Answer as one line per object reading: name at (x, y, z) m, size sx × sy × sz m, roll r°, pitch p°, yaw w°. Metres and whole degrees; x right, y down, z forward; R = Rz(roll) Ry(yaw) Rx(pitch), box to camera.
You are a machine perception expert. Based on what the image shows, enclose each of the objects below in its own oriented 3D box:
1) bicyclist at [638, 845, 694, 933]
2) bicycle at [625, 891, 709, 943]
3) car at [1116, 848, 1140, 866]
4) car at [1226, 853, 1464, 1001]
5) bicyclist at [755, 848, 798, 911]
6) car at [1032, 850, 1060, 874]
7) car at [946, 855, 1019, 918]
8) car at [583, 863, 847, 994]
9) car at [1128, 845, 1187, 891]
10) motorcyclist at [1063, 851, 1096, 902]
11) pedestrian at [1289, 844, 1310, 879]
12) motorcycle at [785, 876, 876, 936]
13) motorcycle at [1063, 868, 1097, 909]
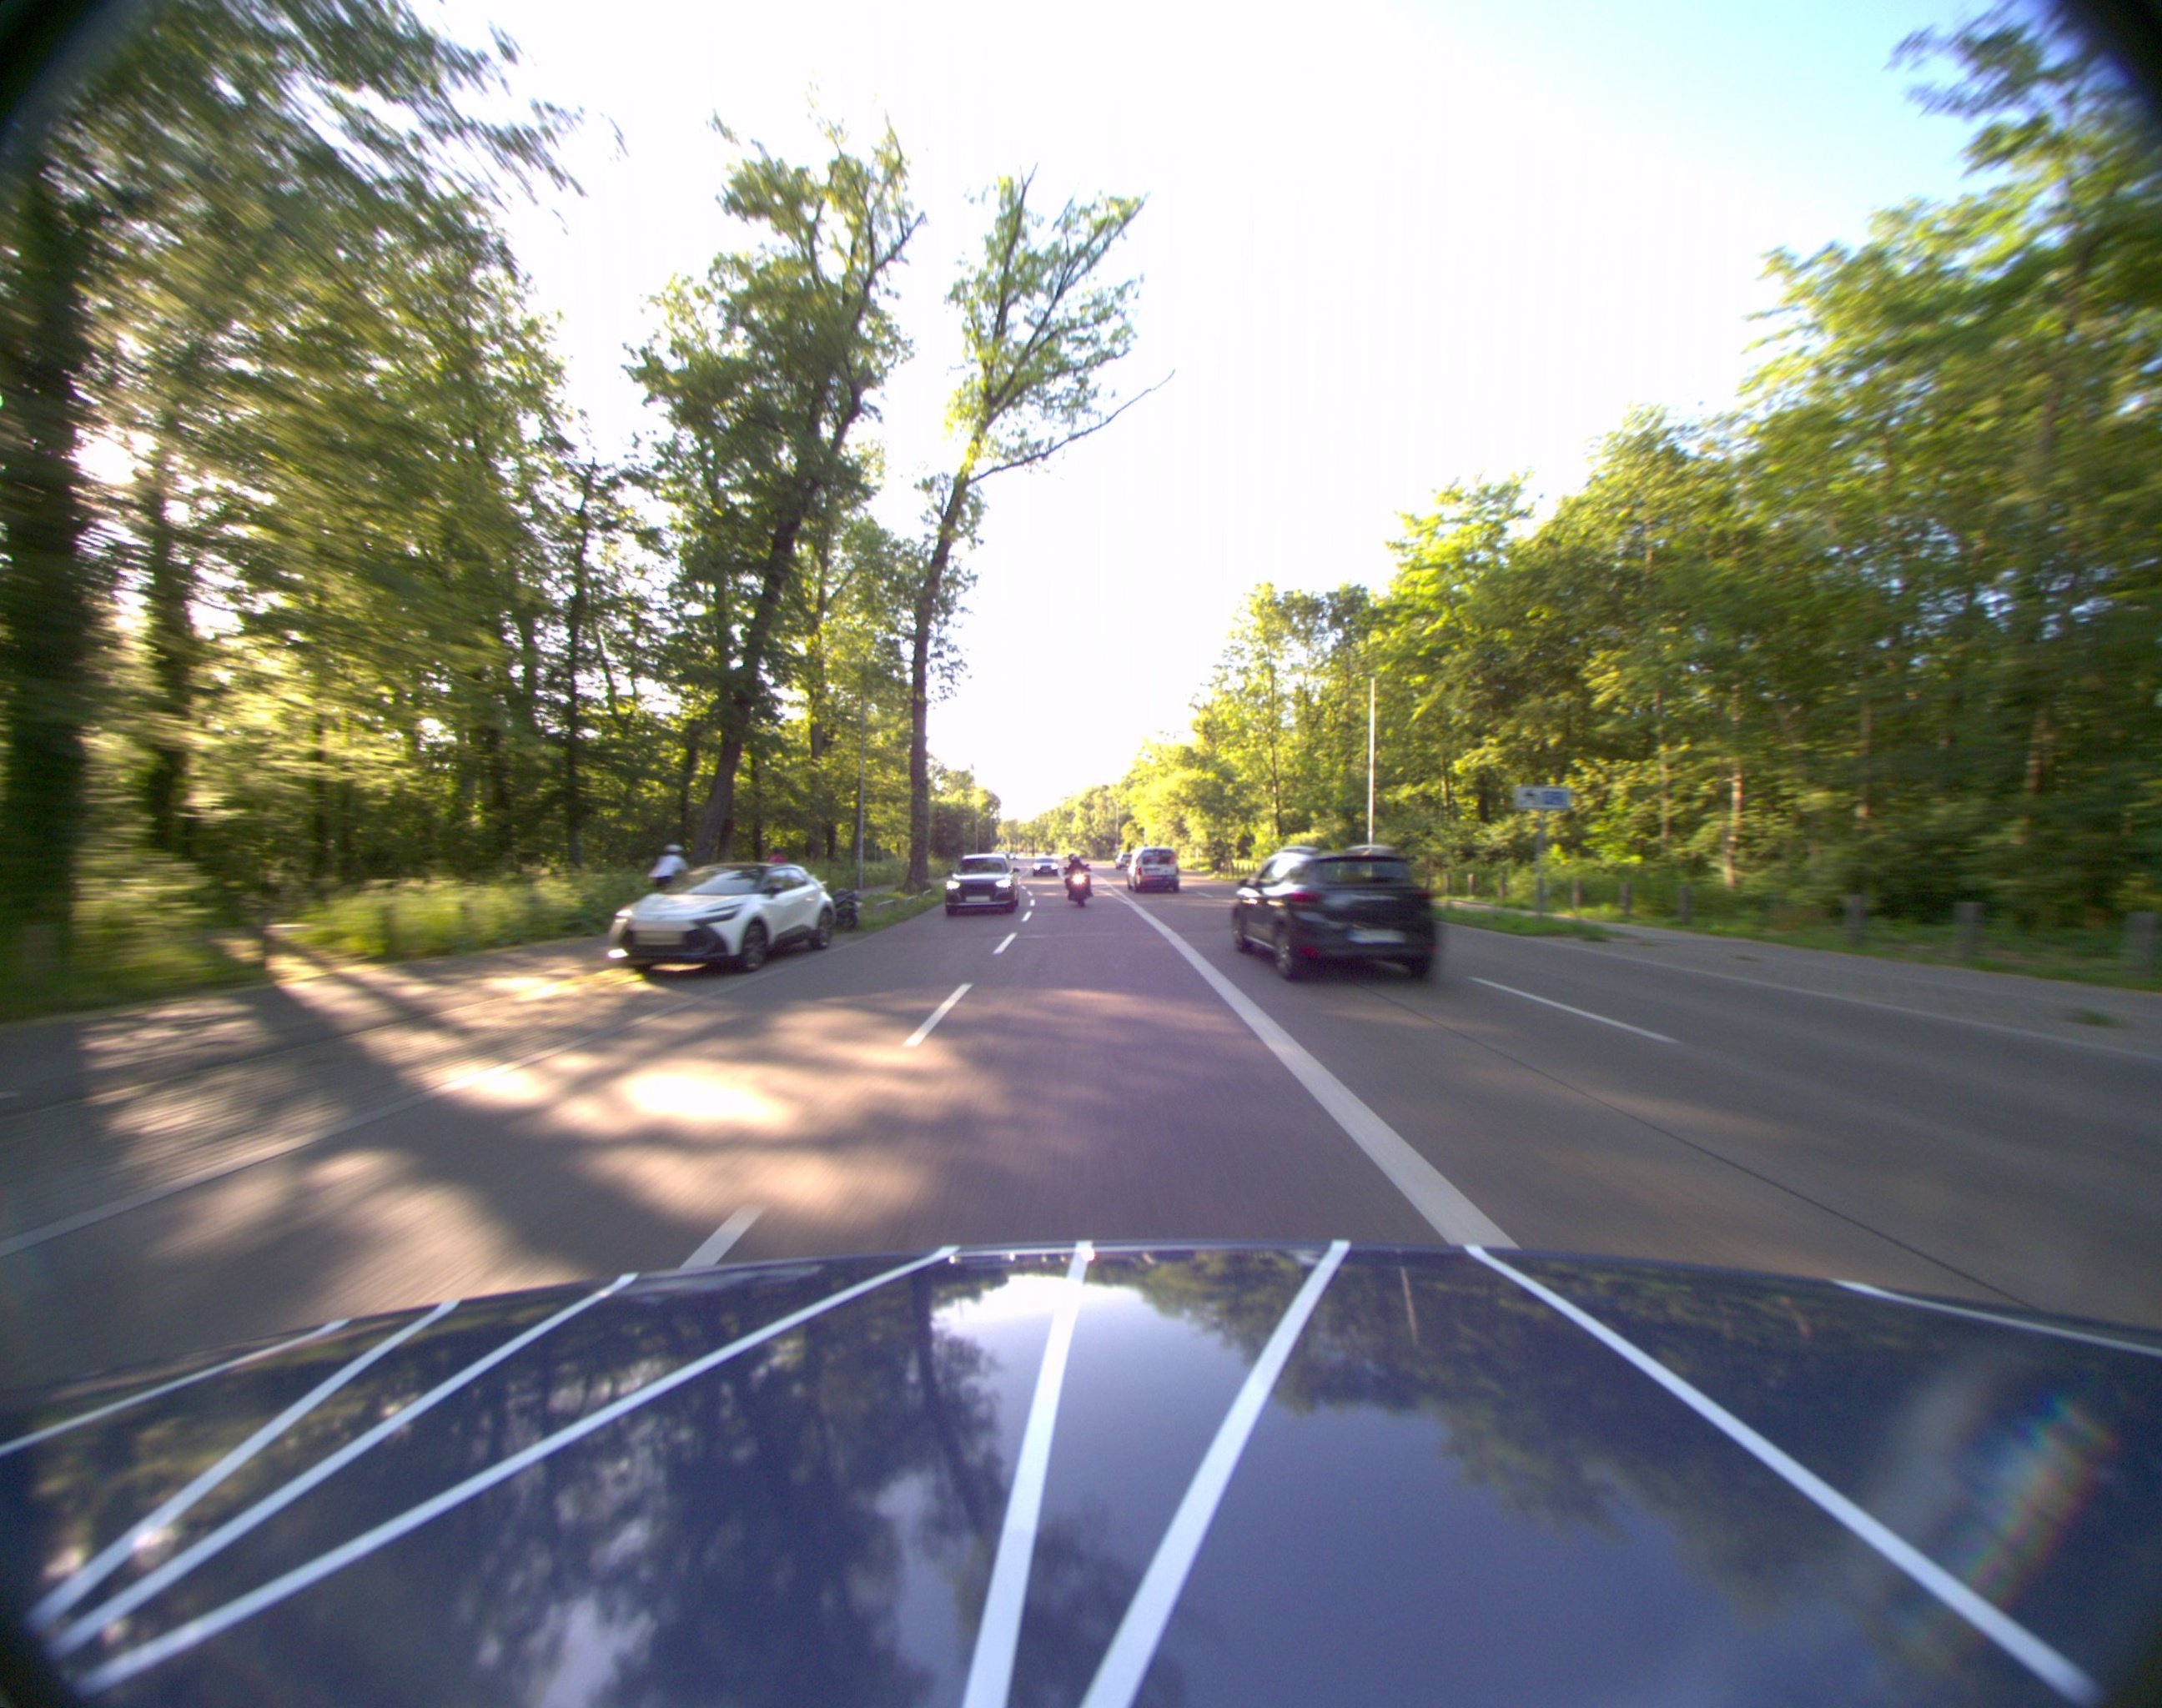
bicyclist at (-8.240, 0.672, 15.112) m, size 0.597 × 1.706 × 0.834 m, roll 0°, pitch 1°, yaw 1°
bicycle at (-8.228, 1.224, 15.193) m, size 0.593 × 0.878 × 1.931 m, roll -1°, pitch 0°, yaw 1°
car at (4.581, 0.251, 74.410) m, size 1.999 × 1.649 × 4.448 m, roll -1°, pitch 0°, yaw -1°
car at (3.175, 0.772, 10.079) m, size 1.809 × 1.536 × 4.090 m, roll 0°, pitch 0°, yaw 1°
bicyclist at (-7.675, 0.625, 19.200) m, size 0.703 × 1.552 × 0.876 m, roll 1°, pitch 1°, yaw 1°
car at (-2.735, 0.571, 58.877) m, size 1.999 × 1.761 × 4.229 m, roll -1°, pitch 0°, yaw -5°
car at (-2.780, 0.858, 22.232) m, size 1.862 × 1.608 × 3.998 m, roll -1°, pitch 1°, yaw -4°
car at (-5.422, 0.991, 12.041) m, size 1.810 × 1.551 × 4.457 m, roll 2°, pitch 0°, yaw 3°
car at (3.054, 0.521, 31.274) m, size 1.911 × 1.746 × 4.799 m, roll 0°, pitch 0°, yaw -1°
motorcyclist at (-0.059, 0.697, 23.664) m, size 0.953 × 1.523 × 1.073 m, roll -2°, pitch 1°, yaw -1°
pedestrian at (11.078, 0.360, 38.533) m, size 0.773 × 1.758 × 0.738 m, roll 1°, pitch 1°, yaw -5°
motorcycle at (-5.414, 1.118, 16.486) m, size 1.738 × 1.246 × 0.771 m, roll 0°, pitch 1°, yaw -3°
motorcycle at (-0.051, 1.049, 23.928) m, size 0.956 × 1.098 × 3.339 m, roll -3°, pitch 0°, yaw -1°
